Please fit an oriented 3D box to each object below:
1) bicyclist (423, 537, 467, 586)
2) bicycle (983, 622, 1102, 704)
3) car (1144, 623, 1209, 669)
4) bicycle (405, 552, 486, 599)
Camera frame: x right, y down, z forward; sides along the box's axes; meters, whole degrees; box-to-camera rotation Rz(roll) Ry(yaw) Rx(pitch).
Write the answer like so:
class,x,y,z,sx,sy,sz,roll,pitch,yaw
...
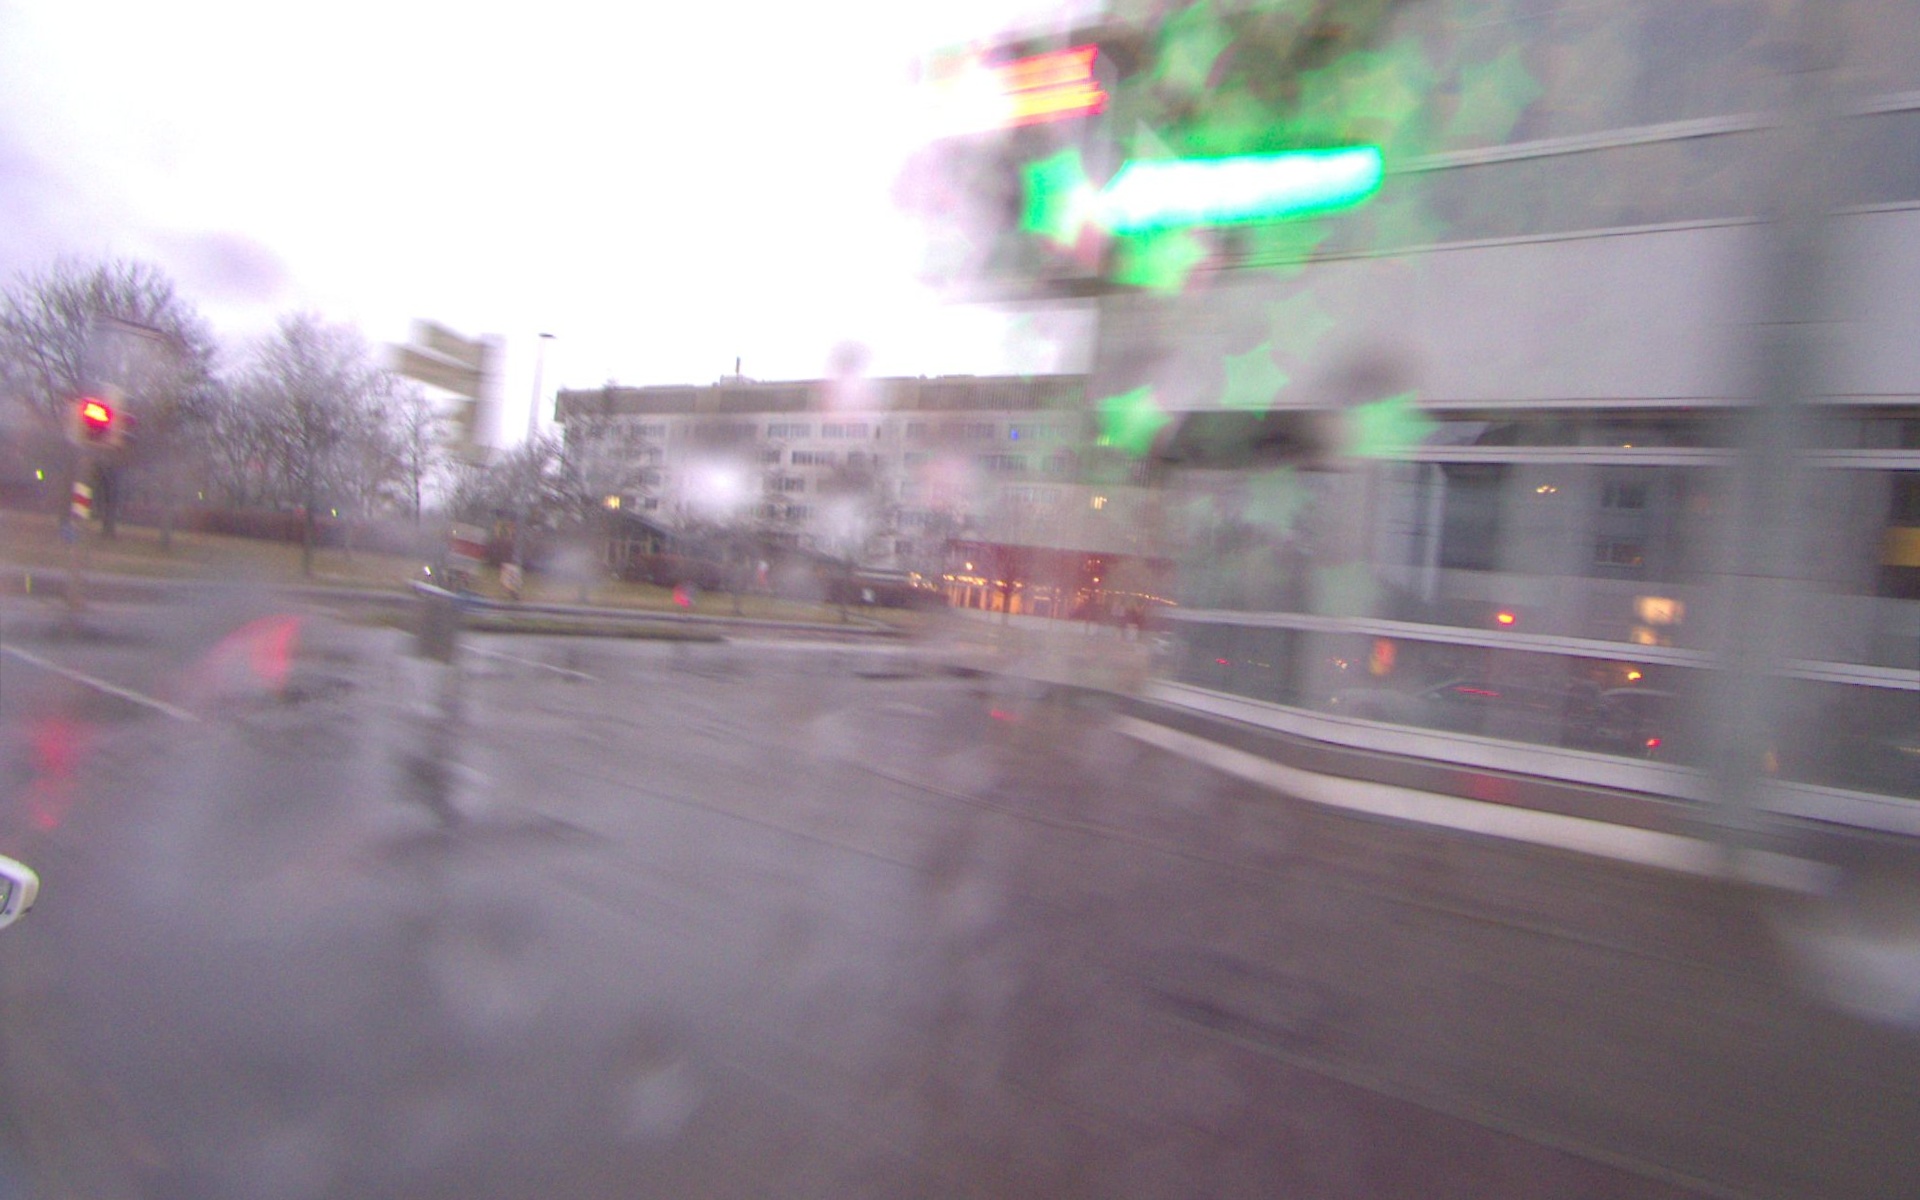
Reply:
class,x,y,z,sx,sy,sz,roll,pitch,yaw
bicyclist,-16.319,-1.220,31.877,0.912,1.447,0.752,5,-2,34
bicycle,1.348,1.020,16.599,1.844,1.118,0.470,6,1,32
car,9.500,2.051,44.022,1.964,1.655,3.280,6,-3,25
bicycle,-16.291,-0.759,31.889,1.022,1.231,1.966,8,1,28
